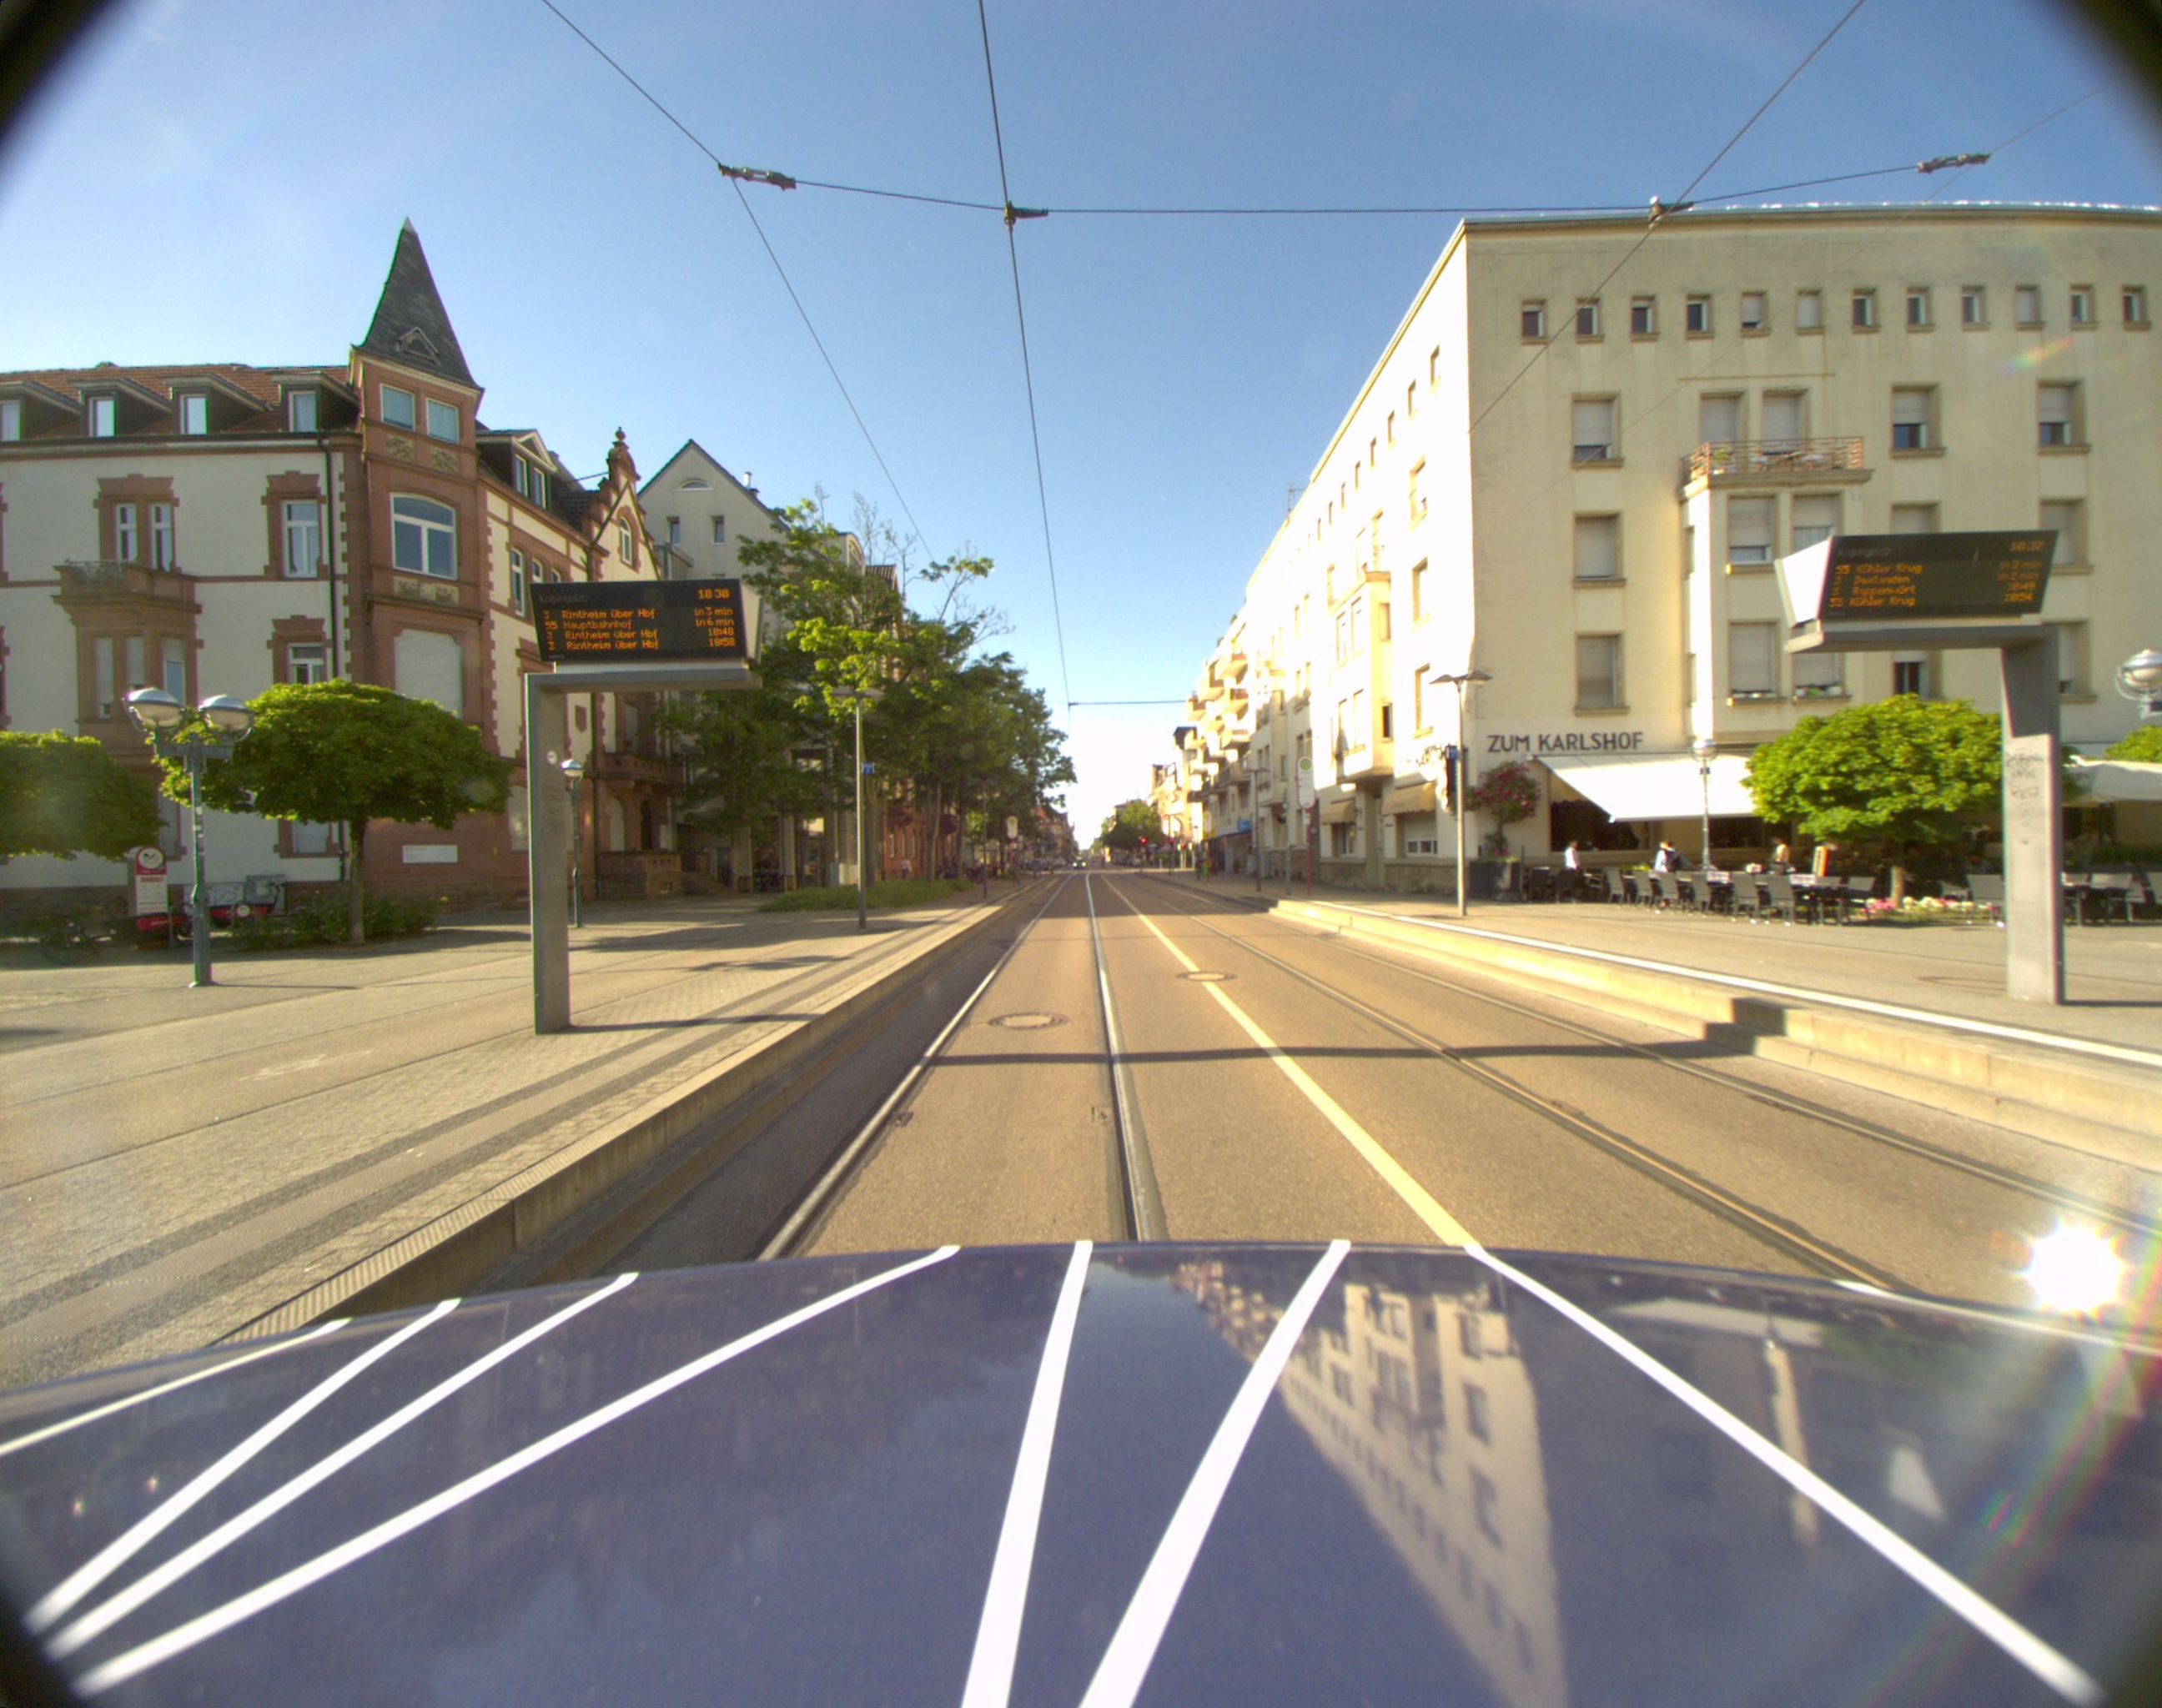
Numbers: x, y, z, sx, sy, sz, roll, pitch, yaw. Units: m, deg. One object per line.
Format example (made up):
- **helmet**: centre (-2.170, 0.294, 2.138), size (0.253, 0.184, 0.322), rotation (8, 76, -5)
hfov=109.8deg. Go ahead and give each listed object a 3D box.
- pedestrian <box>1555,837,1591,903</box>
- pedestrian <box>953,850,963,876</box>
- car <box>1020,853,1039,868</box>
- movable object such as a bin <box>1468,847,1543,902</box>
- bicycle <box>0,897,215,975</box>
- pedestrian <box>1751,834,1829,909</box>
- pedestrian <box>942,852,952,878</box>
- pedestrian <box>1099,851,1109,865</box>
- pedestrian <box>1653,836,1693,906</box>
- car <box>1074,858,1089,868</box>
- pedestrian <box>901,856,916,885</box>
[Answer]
- **pedestrian**: centre (12.540, 0.425, 19.382), size (0.672, 1.634, 0.752), rotation (-1, -3, 27)
- **pedestrian**: centre (-9.574, 0.721, 59.249), size (0.653, 2.002, 0.559), rotation (-1, 1, 3)
- **car**: centre (-7.175, 0.846, 105.647), size (1.998, 2.002, 4.001), rotation (-1, 0, 4)
- **movable object such as a bin**: centre (11.167, 0.524, 20.043), size (1.319, 1.392, 1.128), rotation (-1, 0, -1)
- **bicycle**: centre (-18.172, 1.472, 14.307), size (0.790, 1.062, 2.804), rotation (-1, 2, -8)
- **pedestrian**: centre (16.005, 0.382, 17.177), size (1.066, 1.635, 0.756), rotation (-1, 1, -4)
- **pedestrian**: centre (-10.436, 0.874, 59.238), size (0.653, 2.002, 0.559), rotation (-1, 1, 3)
- **pedestrian**: centre (3.366, 0.555, 109.971), size (1.334, 1.990, 1.138), rotation (-1, 1, 1)
- **pedestrian**: centre (14.124, 0.412, 18.126), size (0.672, 1.634, 0.678), rotation (-2, -3, 40)
- **car**: centre (0.086, 1.308, 111.366), size (1.998, 1.318, 3.863), rotation (-1, 0, 1)
- **pedestrian**: centre (-10.582, 1.010, 46.549), size (0.742, 1.725, 0.877), rotation (-1, 1, -6)
